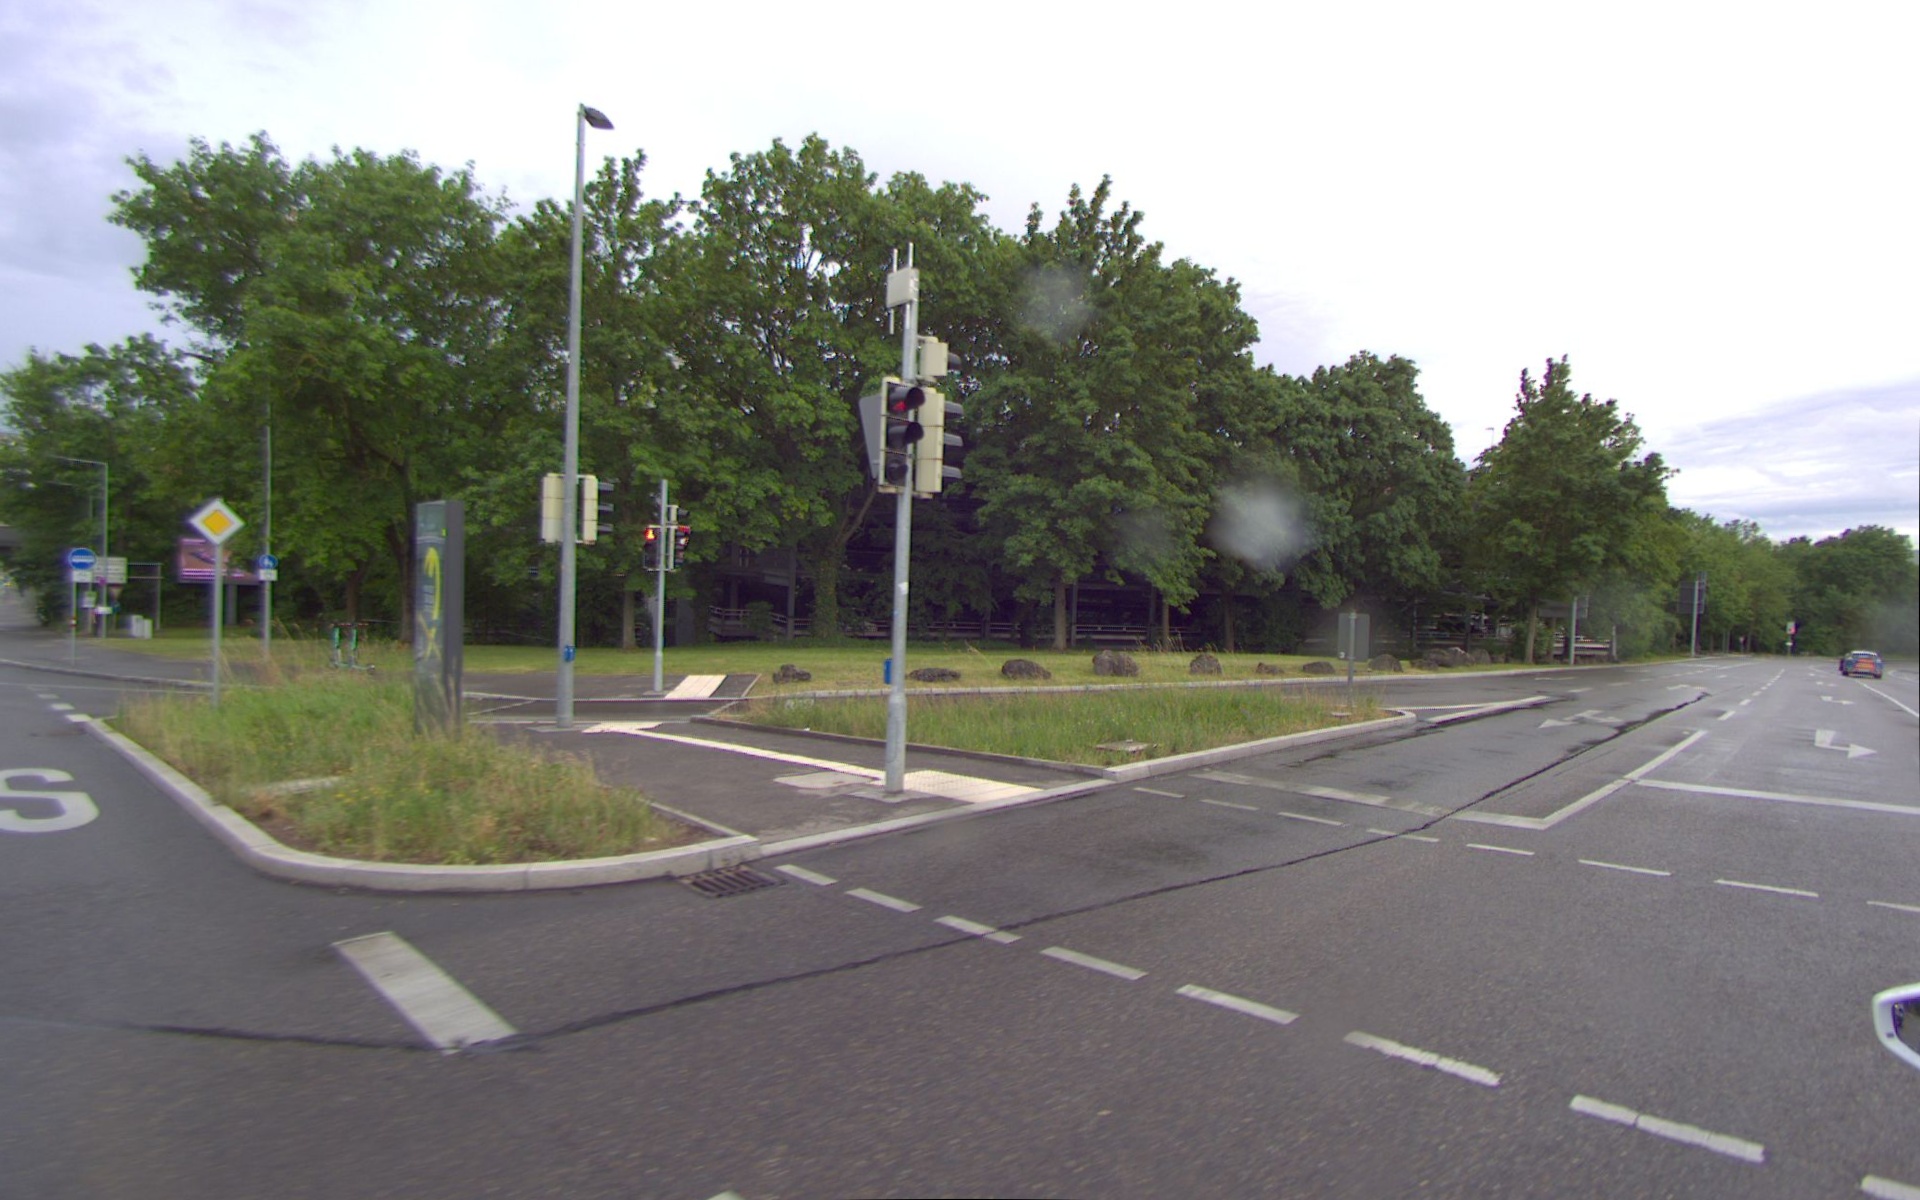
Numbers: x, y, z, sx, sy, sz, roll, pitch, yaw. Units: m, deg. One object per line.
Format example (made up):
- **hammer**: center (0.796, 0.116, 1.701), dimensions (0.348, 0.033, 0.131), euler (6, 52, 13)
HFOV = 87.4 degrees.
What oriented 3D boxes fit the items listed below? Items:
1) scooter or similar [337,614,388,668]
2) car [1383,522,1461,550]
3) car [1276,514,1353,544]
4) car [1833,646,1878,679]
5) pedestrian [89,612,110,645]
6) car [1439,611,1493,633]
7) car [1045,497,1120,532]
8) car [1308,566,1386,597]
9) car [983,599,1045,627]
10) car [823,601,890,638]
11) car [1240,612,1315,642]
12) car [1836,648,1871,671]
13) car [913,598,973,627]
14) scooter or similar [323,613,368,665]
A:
- **scooter or similar**: center (-14.316, 0.963, 24.058), dimensions (1.335, 1.276, 0.548), euler (0, -1, 35)
- **car**: center (27.801, -3.866, 60.594), dimensions (1.970, 1.539, 3.980), euler (2, 3, -21)
- **car**: center (19.967, -3.993, 56.733), dimensions (1.970, 1.539, 3.980), euler (2, 3, -21)
- **car**: center (55.219, 3.839, 61.932), dimensions (1.971, 1.712, 3.978), euler (2, 1, 42)
- **pedestrian**: center (-43.282, 1.444, 50.539), dimensions (0.739, 1.651, 0.703), euler (1, -1, -44)
- **car**: center (39.406, 1.687, 78.240), dimensions (1.566, 1.539, 3.449), euler (2, 0, -27)
- **car**: center (6.001, -4.170, 49.659), dimensions (1.970, 1.539, 3.980), euler (2, 3, -21)
- **car**: center (22.151, -1.098, 57.640), dimensions (1.970, 1.539, 3.980), euler (2, 3, -21)
- **car**: center (3.231, 0.778, 60.445), dimensions (1.975, 1.539, 3.972), euler (2, -1, -27)
- **car**: center (-4.686, 0.855, 44.896), dimensions (1.971, 1.539, 3.980), euler (2, -1, -21)
- **car**: center (17.815, 1.482, 56.597), dimensions (1.970, 1.539, 3.981), euler (2, -1, -21)
- **car**: center (68.106, 4.493, 76.582), dimensions (1.905, 1.506, 3.779), euler (2, 1, 42)
- **car**: center (-1.044, 0.718, 58.844), dimensions (1.975, 1.539, 3.972), euler (2, -1, -27)
- **scooter or similar**: center (-15.348, 0.955, 25.077), dimensions (1.206, 1.276, 0.515), euler (0, -1, 35)
